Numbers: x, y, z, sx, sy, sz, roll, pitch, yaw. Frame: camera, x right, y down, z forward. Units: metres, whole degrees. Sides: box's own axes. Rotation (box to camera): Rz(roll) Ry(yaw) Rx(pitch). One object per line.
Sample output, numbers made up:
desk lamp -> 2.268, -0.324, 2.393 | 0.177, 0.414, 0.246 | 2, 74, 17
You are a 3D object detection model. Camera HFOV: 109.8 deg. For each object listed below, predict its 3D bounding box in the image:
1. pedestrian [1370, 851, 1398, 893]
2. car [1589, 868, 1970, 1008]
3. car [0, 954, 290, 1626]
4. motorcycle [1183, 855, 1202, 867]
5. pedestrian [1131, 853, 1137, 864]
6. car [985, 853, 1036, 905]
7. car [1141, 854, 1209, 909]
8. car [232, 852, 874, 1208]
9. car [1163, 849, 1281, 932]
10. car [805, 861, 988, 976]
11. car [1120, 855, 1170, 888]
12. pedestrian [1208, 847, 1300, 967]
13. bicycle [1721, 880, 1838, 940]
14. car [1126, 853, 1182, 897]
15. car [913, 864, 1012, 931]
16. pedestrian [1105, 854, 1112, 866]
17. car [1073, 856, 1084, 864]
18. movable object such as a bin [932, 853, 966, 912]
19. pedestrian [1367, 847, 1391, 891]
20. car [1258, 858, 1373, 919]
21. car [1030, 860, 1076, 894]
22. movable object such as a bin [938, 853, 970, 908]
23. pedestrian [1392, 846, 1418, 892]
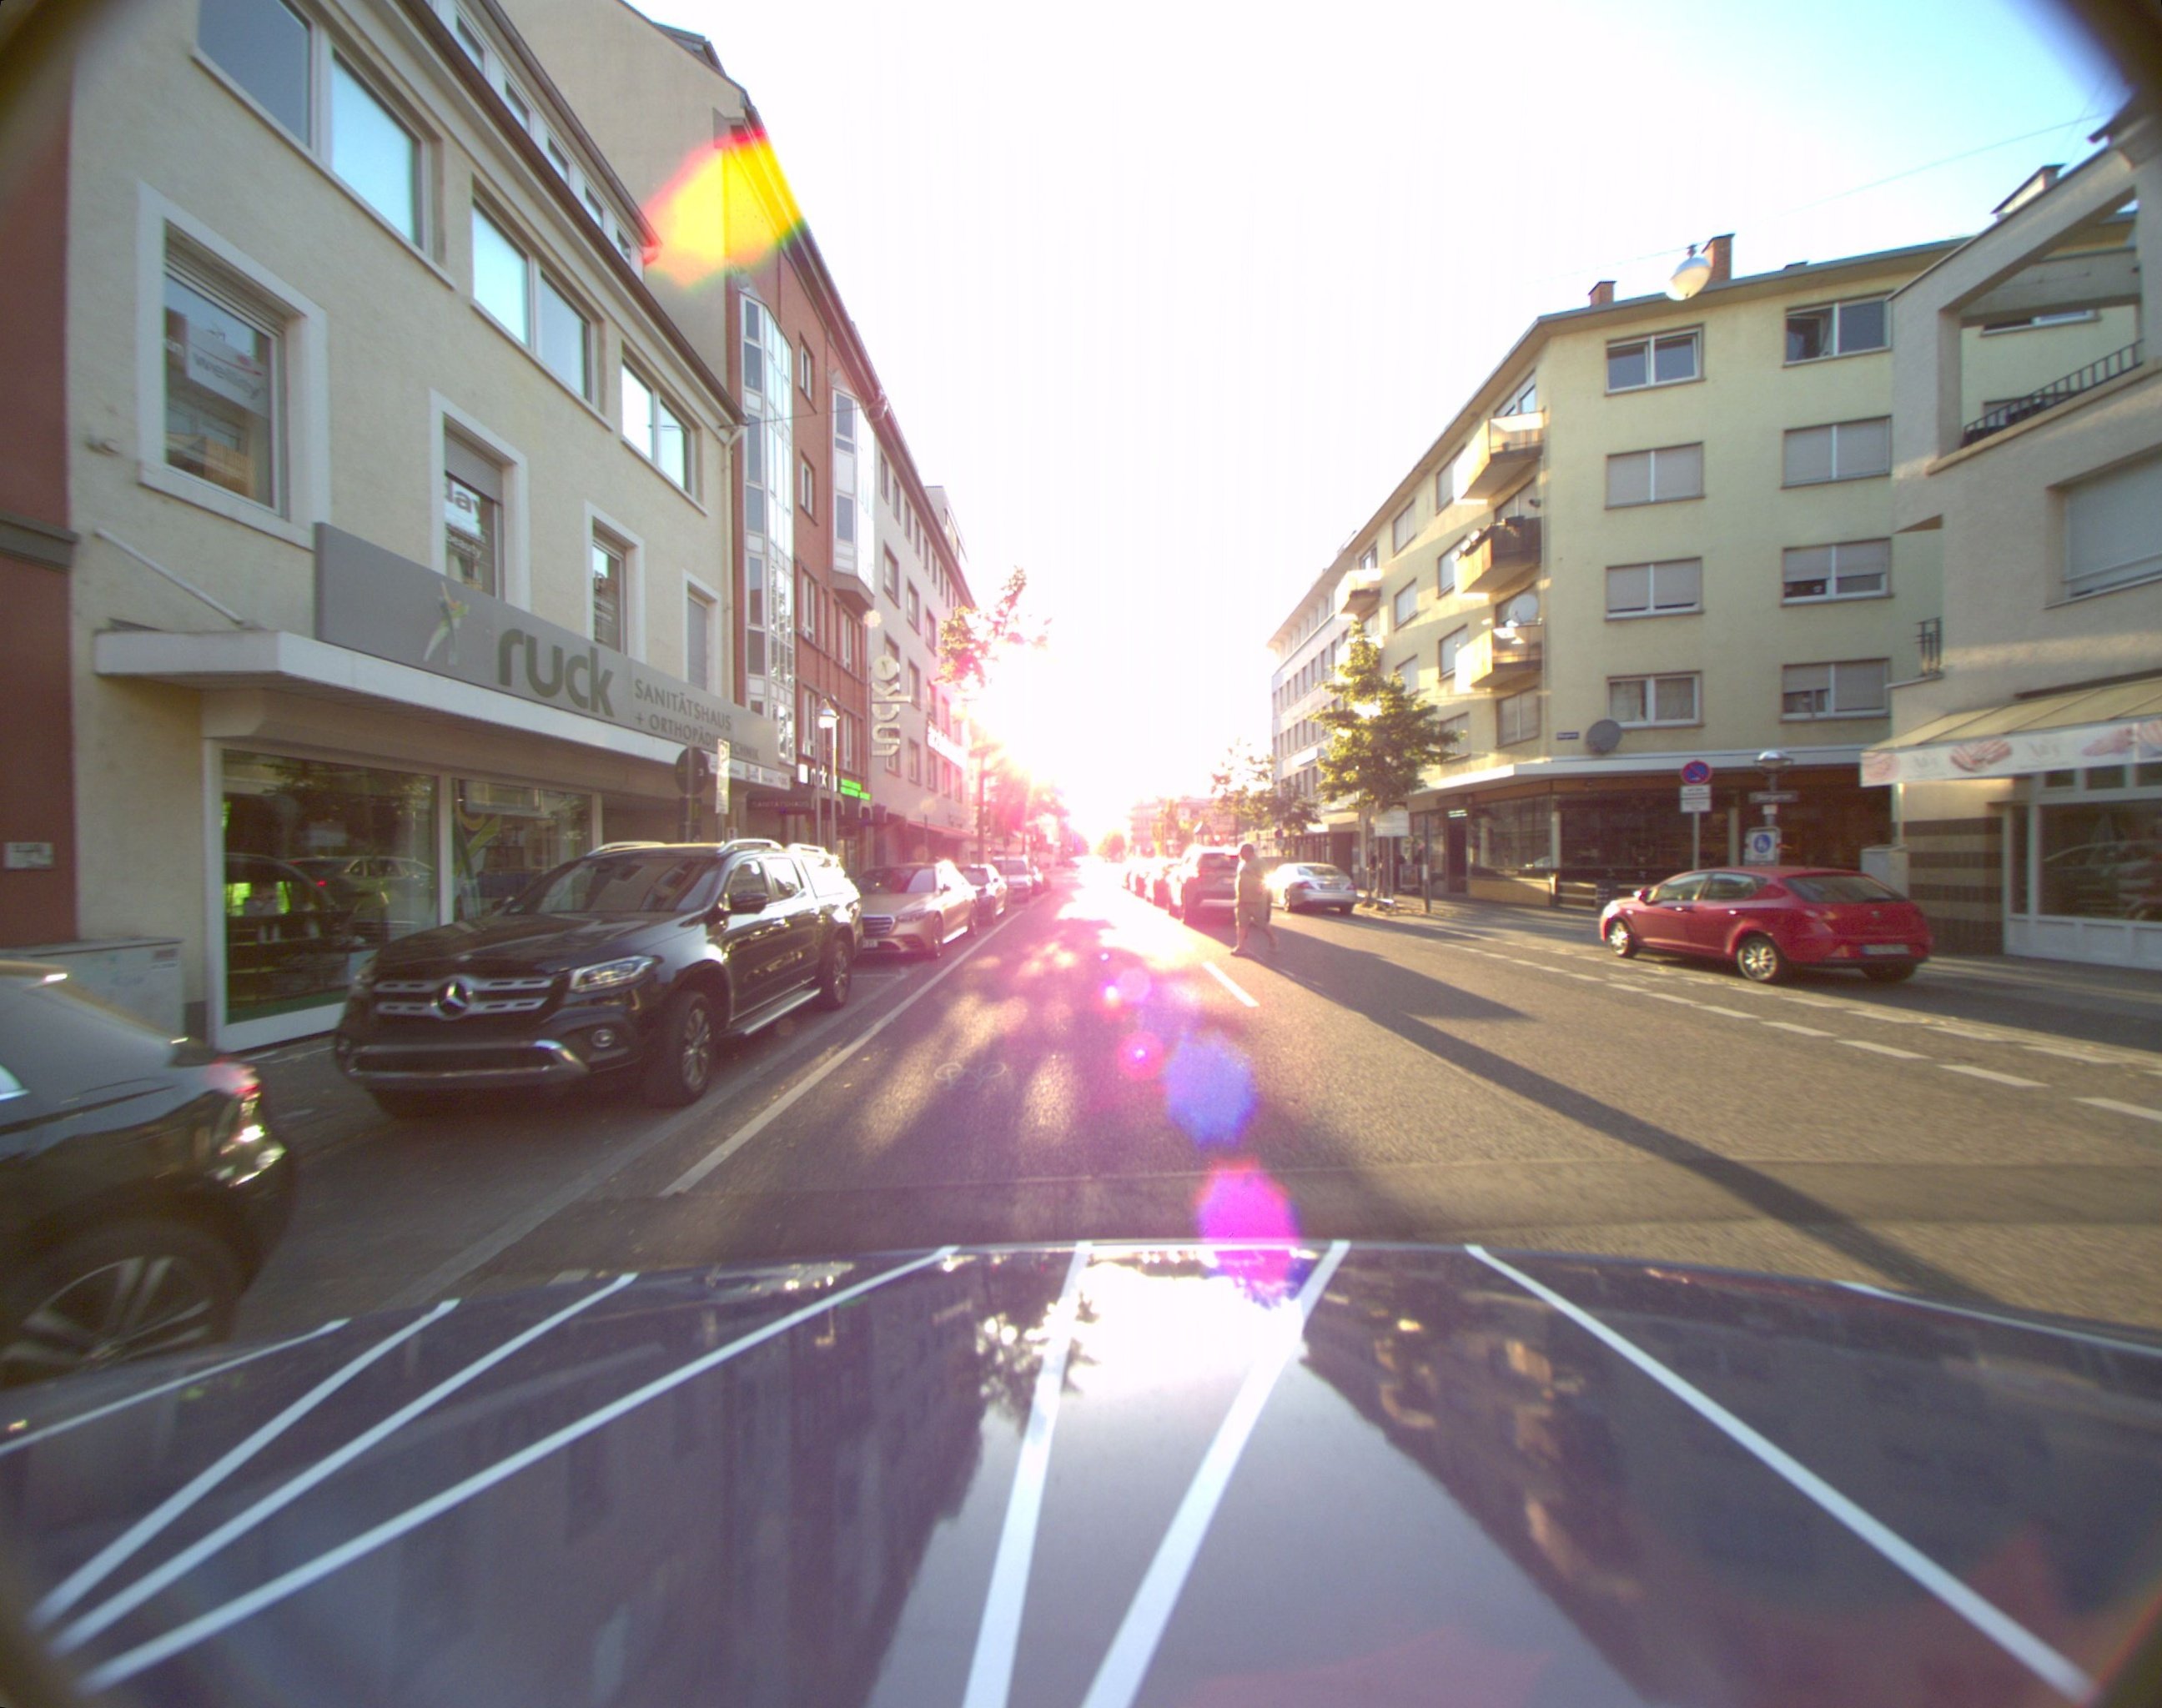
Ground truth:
pedestrian -> 12.090, 0.711, 30.323 | 0.768, 1.666, 0.744 | -1, 1, 43
car -> 9.129, 0.976, 10.453 | 1.665, 1.394, 3.883 | -2, 1, 0
car -> -3.451, 1.105, 0.242 | 1.766, 1.475, 4.306 | -2, 1, 1
motorcycle -> 14.477, 0.915, 98.649 | 2.450, 1.358, 0.780 | -2, 0, 6
pedestrian -> 8.140, 0.677, 117.372 | 0.842, 1.736, 0.701 | -2, 1, 0
car -> -2.618, 0.895, 28.841 | 1.659, 1.768, 4.011 | -2, 0, -2
car -> 2.945, 0.813, 24.681 | 1.728, 1.540, 4.464 | 0, 1, 1
car -> -3.425, 0.915, 6.485 | 1.888, 1.744, 5.058 | -2, 1, 0
car -> 3.102, 0.722, 17.677 | 1.945, 1.635, 4.738 | 0, 1, 1
car -> -3.006, 0.964, 13.611 | 1.816, 1.518, 4.993 | -2, 1, 3
car -> 3.120, 0.865, 37.866 | 1.963, 1.538, 4.509 | 0, -1, -1
pedestrian -> 2.546, 0.752, 11.253 | 0.907, 1.667, 0.991 | 1, 1, -17
bicycle -> 13.550, 1.047, 14.821 | 0.491, 0.986, 2.016 | -2, 1, 2
car -> 2.905, 0.790, 31.296 | 1.951, 1.635, 4.615 | 0, 1, 1
car -> -2.863, 1.011, 19.307 | 1.757, 1.412, 4.509 | -2, 0, 0
pedestrian -> 4.011, 0.841, 111.996 | 0.905, 1.667, 0.780 | -2, 1, 12
car -> -0.550, 1.138, 149.010 | 1.998, 1.538, 4.509 | -2, 1, 1
movable object such as a bin -> -4.133, 0.870, 23.898 | 0.837, 1.763, 1.353 | -2, 1, -3
pedestrian -> 12.496, 0.624, 31.872 | 0.769, 1.836, 0.744 | -1, -1, 10
car -> 6.739, 0.928, 22.427 | 1.998, 1.503, 4.509 | 2, 1, 1
car -> -1.237, 0.997, 34.827 | 1.942, 1.368, 4.182 | -2, 0, -1
movable object such as a bin -> -4.204, 0.858, 25.197 | 0.837, 1.763, 1.205 | -2, 1, -3
pedestrian -> 13.109, 0.602, 30.746 | 0.742, 1.808, 0.813 | 0, 0, 3
